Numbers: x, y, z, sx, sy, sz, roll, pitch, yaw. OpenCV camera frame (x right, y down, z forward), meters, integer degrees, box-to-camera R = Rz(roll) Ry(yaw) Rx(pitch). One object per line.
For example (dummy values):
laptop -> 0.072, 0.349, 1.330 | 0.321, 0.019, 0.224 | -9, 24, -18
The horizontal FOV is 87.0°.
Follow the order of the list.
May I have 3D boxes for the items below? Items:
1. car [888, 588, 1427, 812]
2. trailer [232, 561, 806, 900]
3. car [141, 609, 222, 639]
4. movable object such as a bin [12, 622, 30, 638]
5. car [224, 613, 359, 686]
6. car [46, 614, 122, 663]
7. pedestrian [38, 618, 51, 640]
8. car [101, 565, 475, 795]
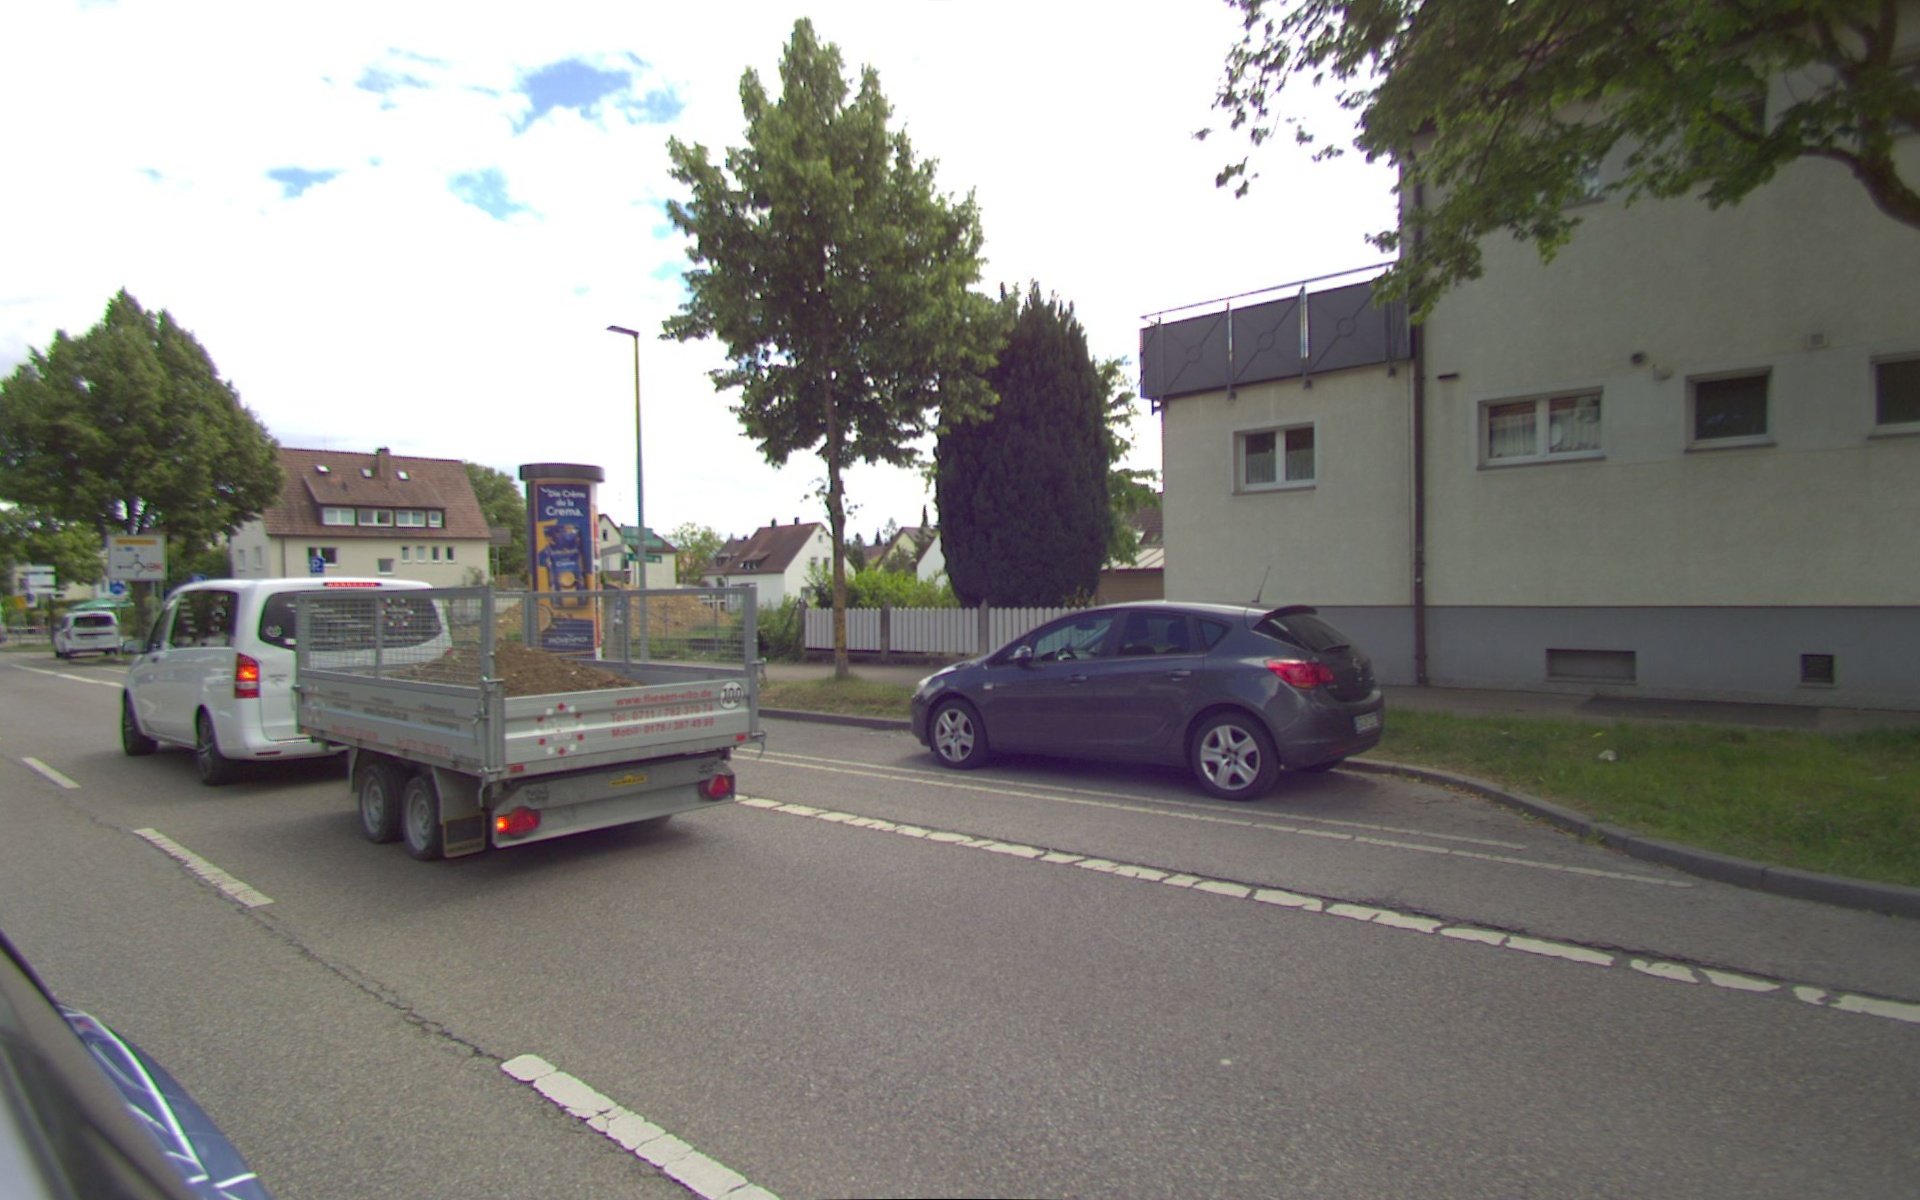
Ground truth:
car -> 1.498, 0.700, 8.754 | 4.299, 1.480, 1.713 | -2, -1, 41
trailer -> -3.404, 0.683, 7.304 | 4.685, 1.689, 1.918 | -1, 0, 40
car -> -51.370, 1.548, 66.809 | 1.854, 1.674, 3.878 | 0, 3, 40
movable object such as a bin -> -87.399, 2.814, 94.186 | 2.721, 1.427, 0.971 | -2, 0, 41
car -> -15.718, 1.110, 23.716 | 4.131, 1.553, 1.667 | -2, -1, 42
car -> -35.355, 1.525, 40.804 | 4.550, 1.784, 1.751 | -2, 0, 42
pedestrian -> -76.860, 2.422, 84.951 | 0.627, 1.840, 0.568 | -3, 1, -33
car -> -7.076, 0.672, 10.430 | 4.815, 1.844, 1.946 | -1, 0, 40
